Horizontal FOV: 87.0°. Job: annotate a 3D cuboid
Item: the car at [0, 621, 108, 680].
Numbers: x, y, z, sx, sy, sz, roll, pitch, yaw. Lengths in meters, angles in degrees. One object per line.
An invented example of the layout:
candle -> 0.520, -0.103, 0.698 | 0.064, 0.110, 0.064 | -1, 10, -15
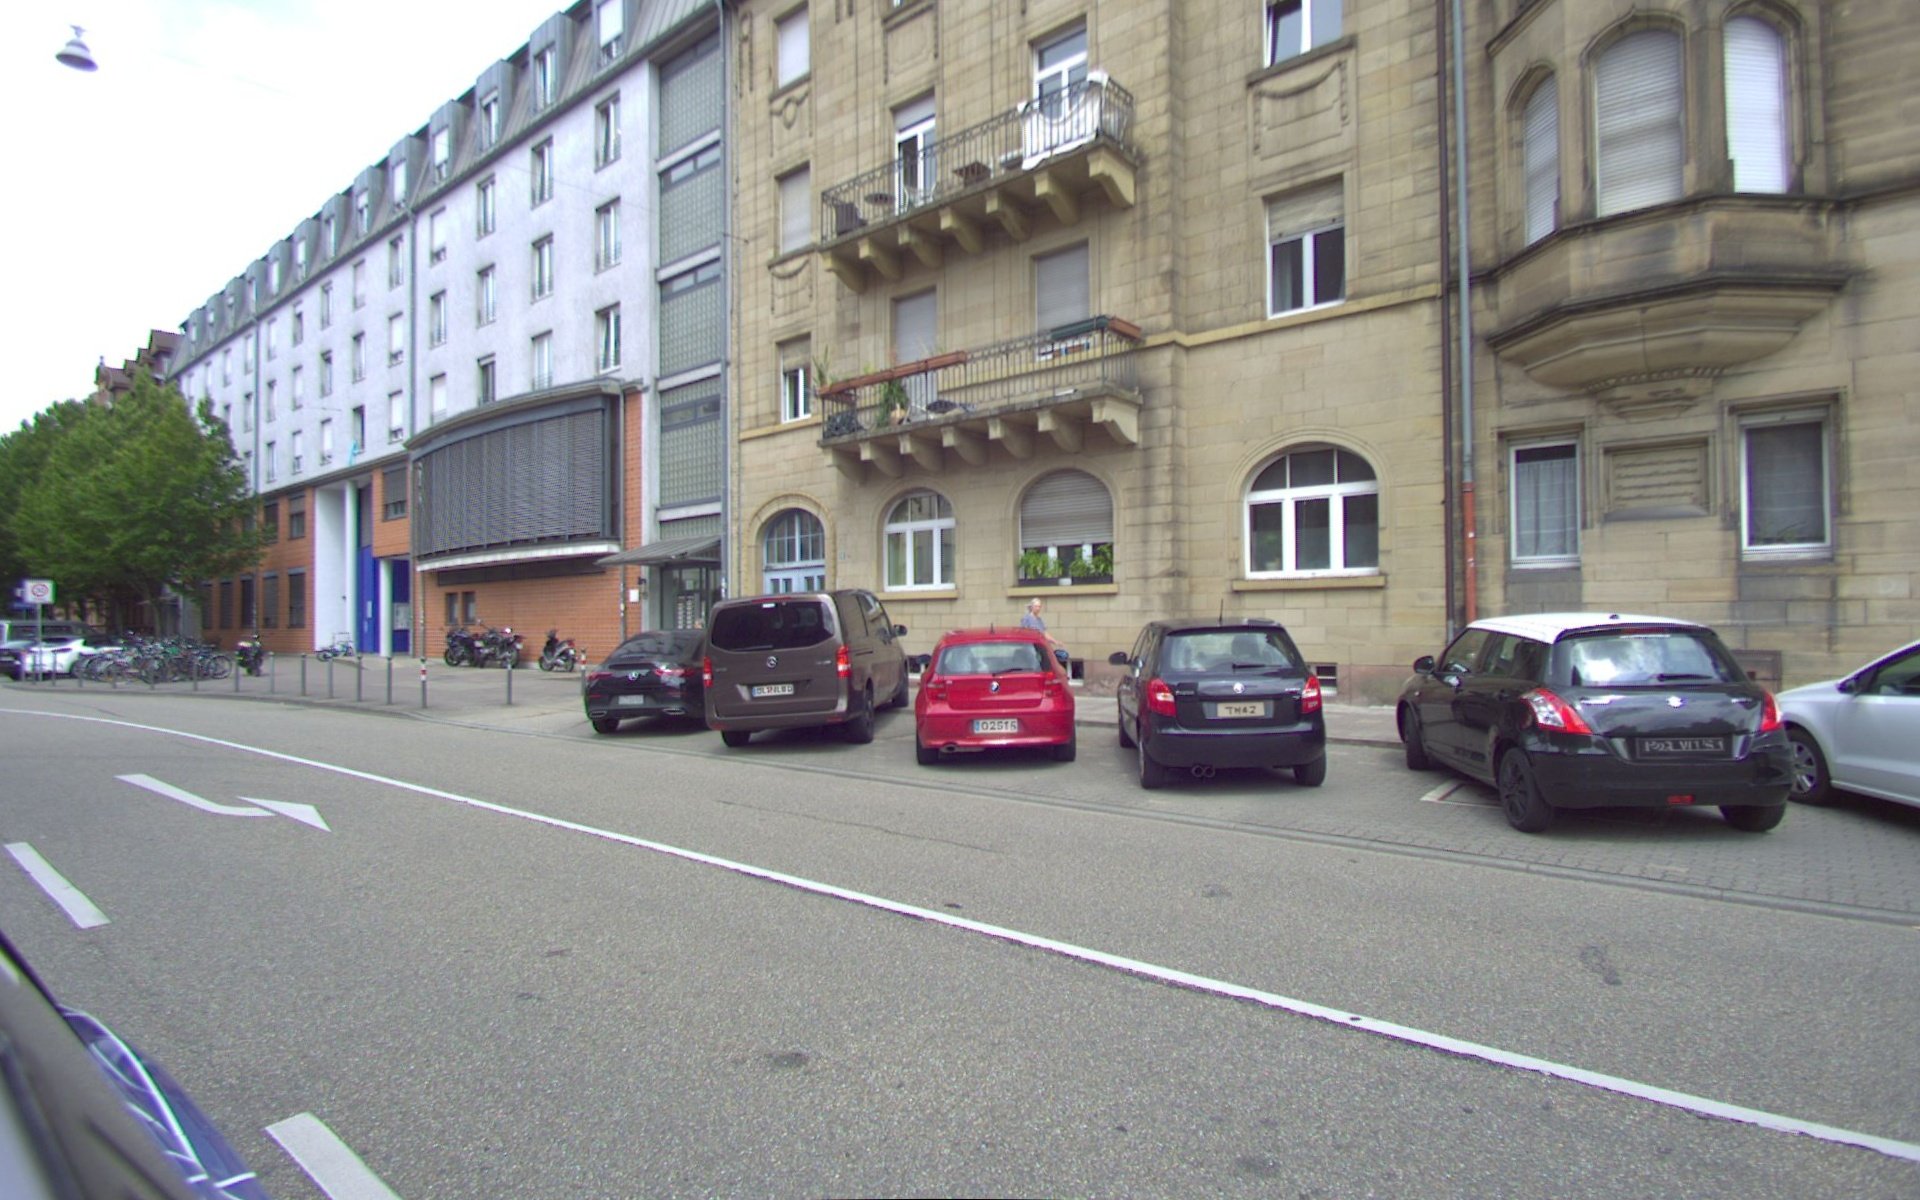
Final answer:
car -> -34.697, 1.843, 37.914 | 1.841, 2.013, 3.994 | -1, 0, 10

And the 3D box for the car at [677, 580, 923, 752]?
car -> -1.931, 0.823, 14.131 | 2.096, 1.924, 5.260 | -1, -2, 6

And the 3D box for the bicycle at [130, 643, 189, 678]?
bicycle -> -24.834, 1.872, 31.415 | 0.402, 1.034, 1.391 | -2, -2, 43

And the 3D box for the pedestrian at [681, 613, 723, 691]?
pedestrian -> -5.112, 1.018, 20.037 | 0.506, 1.497, 0.656 | -1, -2, 27

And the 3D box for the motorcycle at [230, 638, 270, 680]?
motorcycle -> -20.667, 1.708, 29.460 | 1.779, 1.181, 0.577 | -2, -1, 43

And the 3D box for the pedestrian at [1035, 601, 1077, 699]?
pedestrian -> 1.581, 0.810, 16.580 | 0.506, 1.557, 0.647 | -1, -2, 22

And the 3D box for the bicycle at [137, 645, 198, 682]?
bicycle -> -23.900, 1.906, 30.529 | 0.402, 1.034, 1.391 | -2, -2, 43

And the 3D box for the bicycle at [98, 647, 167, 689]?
bicycle -> -22.534, 1.841, 27.589 | 0.402, 1.046, 1.391 | -2, 0, 43

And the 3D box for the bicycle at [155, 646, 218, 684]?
bicycle -> -22.149, 1.853, 29.003 | 0.402, 1.034, 1.391 | -2, -2, 43

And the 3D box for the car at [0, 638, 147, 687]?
car -> -30.191, 2.067, 34.168 | 1.697, 1.480, 4.307 | -1, -2, 7

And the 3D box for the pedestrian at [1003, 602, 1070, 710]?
pedestrian -> 1.194, 0.854, 15.785 | 0.678, 1.607, 0.783 | -2, 0, 41

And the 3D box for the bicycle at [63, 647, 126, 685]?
bicycle -> -26.159, 1.976, 30.612 | 0.402, 1.034, 1.391 | -2, 0, 43

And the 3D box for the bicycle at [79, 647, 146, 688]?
bicycle -> -24.116, 1.909, 28.814 | 0.402, 1.046, 1.391 | -2, 0, 43

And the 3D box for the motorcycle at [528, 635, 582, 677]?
motorcycle -> -10.702, 1.477, 26.728 | 1.793, 1.057, 0.577 | -2, -1, 42

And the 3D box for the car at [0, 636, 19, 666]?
car -> -55.345, 2.895, 56.496 | 1.671, 1.695, 3.996 | -2, -2, 7

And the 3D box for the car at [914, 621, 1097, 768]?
car -> 0.428, 0.975, 11.918 | 1.771, 1.420, 4.012 | -1, -2, 0

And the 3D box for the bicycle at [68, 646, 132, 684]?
bicycle -> -25.555, 1.918, 30.078 | 0.402, 1.034, 1.391 | -2, 0, 43

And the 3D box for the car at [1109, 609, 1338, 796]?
car -> 2.438, 0.890, 10.284 | 1.611, 1.514, 3.989 | -1, -2, 6

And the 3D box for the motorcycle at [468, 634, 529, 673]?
motorcycle -> -13.369, 1.547, 29.304 | 1.959, 1.057, 0.579 | -2, -1, 30

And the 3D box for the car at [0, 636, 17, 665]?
car -> -52.907, 2.746, 53.764 | 1.671, 1.580, 3.996 | -2, -2, 7

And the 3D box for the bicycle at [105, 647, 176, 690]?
bicycle -> -21.858, 1.810, 27.010 | 0.402, 1.046, 1.391 | -2, 0, 43

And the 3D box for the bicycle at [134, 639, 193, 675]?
bicycle -> -24.404, 1.725, 31.015 | 0.402, 1.034, 1.391 | -2, -2, 43

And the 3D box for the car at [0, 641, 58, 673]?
car -> -43.049, 2.561, 45.292 | 1.577, 1.400, 3.996 | -2, -2, 7

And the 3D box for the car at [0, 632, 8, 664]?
car -> -57.508, 2.801, 58.116 | 1.671, 1.872, 4.036 | -2, -2, 7

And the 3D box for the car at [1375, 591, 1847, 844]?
car -> 4.941, 0.797, 8.459 | 1.776, 1.576, 4.001 | -1, -2, 9

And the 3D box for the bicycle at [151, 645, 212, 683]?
bicycle -> -22.862, 1.876, 29.740 | 0.402, 1.034, 1.391 | -2, -2, 43

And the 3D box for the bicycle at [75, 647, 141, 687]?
bicycle -> -24.602, 1.930, 29.233 | 0.402, 1.034, 1.391 | -2, 0, 43

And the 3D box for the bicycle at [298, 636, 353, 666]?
bicycle -> -23.725, 1.893, 37.841 | 1.590, 0.933, 0.933 | -6, 2, -37

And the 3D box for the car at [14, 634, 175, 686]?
car -> -28.058, 1.918, 32.993 | 1.583, 1.557, 3.997 | -1, -2, 6

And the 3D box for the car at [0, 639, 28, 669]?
car -> -50.838, 2.830, 52.159 | 1.671, 1.580, 3.996 | -2, -2, 7

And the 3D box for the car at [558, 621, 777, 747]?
car -> -4.291, 1.162, 15.704 | 1.874, 1.420, 4.669 | -2, 1, 2

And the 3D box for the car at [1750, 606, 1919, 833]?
car -> 7.154, 0.769, 6.307 | 1.720, 1.493, 3.680 | -1, -2, 5

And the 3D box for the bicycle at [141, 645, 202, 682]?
bicycle -> -23.534, 1.880, 30.212 | 0.402, 1.034, 1.391 | -2, -2, 43

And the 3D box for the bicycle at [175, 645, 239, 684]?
bicycle -> -21.081, 1.795, 28.343 | 0.402, 1.034, 1.391 | -2, -2, 43

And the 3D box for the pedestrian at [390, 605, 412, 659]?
pedestrian -> -21.157, 1.217, 38.297 | 0.718, 2.029, 0.785 | 1, -2, -30

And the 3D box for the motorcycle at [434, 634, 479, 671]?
motorcycle -> -15.309, 1.592, 30.752 | 1.655, 1.057, 0.577 | -2, -1, 40

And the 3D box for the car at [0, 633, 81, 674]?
car -> -38.858, 2.198, 41.601 | 1.692, 1.627, 3.996 | -2, -2, 7

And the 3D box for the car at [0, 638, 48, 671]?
car -> -44.789, 2.530, 46.663 | 1.671, 1.465, 3.996 | -2, -2, 7

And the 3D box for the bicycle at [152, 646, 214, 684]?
bicycle -> -22.538, 1.869, 29.372 | 0.402, 1.034, 1.391 | -2, -2, 43
